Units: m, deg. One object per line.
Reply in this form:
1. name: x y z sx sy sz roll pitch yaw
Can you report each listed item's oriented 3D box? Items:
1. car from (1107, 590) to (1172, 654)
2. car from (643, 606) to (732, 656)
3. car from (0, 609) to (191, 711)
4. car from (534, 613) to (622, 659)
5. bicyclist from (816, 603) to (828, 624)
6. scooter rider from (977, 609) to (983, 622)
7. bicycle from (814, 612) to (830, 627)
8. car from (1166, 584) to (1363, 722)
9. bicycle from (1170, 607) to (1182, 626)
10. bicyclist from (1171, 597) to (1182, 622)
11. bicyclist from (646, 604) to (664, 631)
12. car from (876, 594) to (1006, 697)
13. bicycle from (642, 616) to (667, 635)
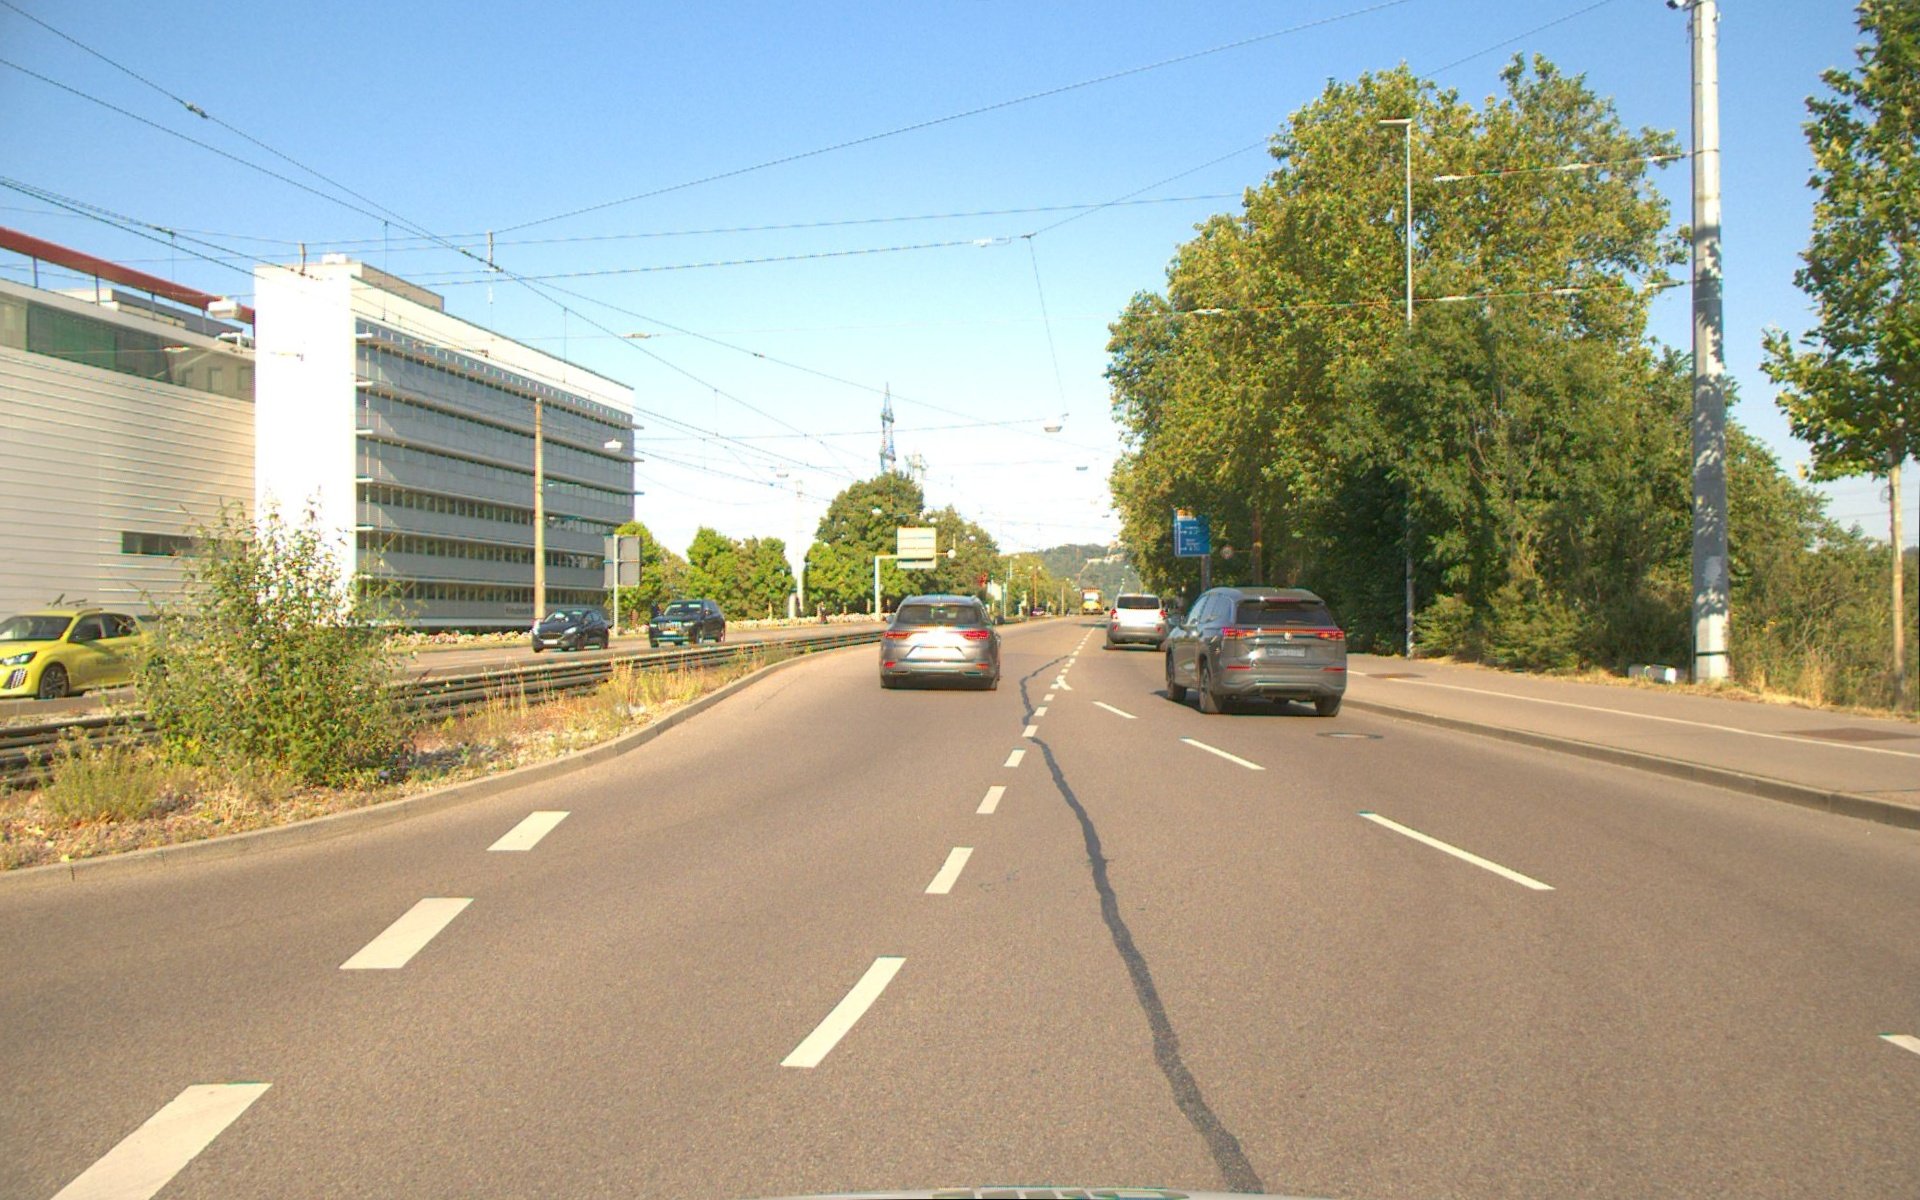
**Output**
1. car: 5.420 0.635 50.091 1.843 1.827 4.003 2 0 6
2. car: -9.917 1.106 60.532 1.951 1.684 4.662 -1 0 7
3. car: -14.428 0.931 26.633 1.745 1.473 4.111 -2 0 7
4. car: -13.394 1.248 58.281 1.817 1.486 4.140 -1 0 5
5. bicyclist: -11.164 1.115 133.602 0.647 1.652 0.801 2 0 16
6. scooter rider: 2.859 2.214 234.082 0.667 1.881 1.001 -1 -1 14
7. bicycle: -11.146 1.554 133.706 0.647 1.171 2.023 2 0 16
8. car: 4.063 0.651 22.769 1.807 1.690 4.438 1 0 -1
9. bicycle: 13.363 1.032 102.337 0.609 1.140 1.814 -2 0 6
10. bicyclist: 13.401 0.592 102.356 0.671 1.535 0.891 0 0 6
11. bicyclist: -18.068 1.045 97.973 0.690 1.539 0.971 2 0 13
12. car: -0.220 0.676 26.993 1.827 1.493 4.667 1 0 3
13. bicycle: -18.095 1.523 97.913 0.690 1.092 2.029 2 0 13
